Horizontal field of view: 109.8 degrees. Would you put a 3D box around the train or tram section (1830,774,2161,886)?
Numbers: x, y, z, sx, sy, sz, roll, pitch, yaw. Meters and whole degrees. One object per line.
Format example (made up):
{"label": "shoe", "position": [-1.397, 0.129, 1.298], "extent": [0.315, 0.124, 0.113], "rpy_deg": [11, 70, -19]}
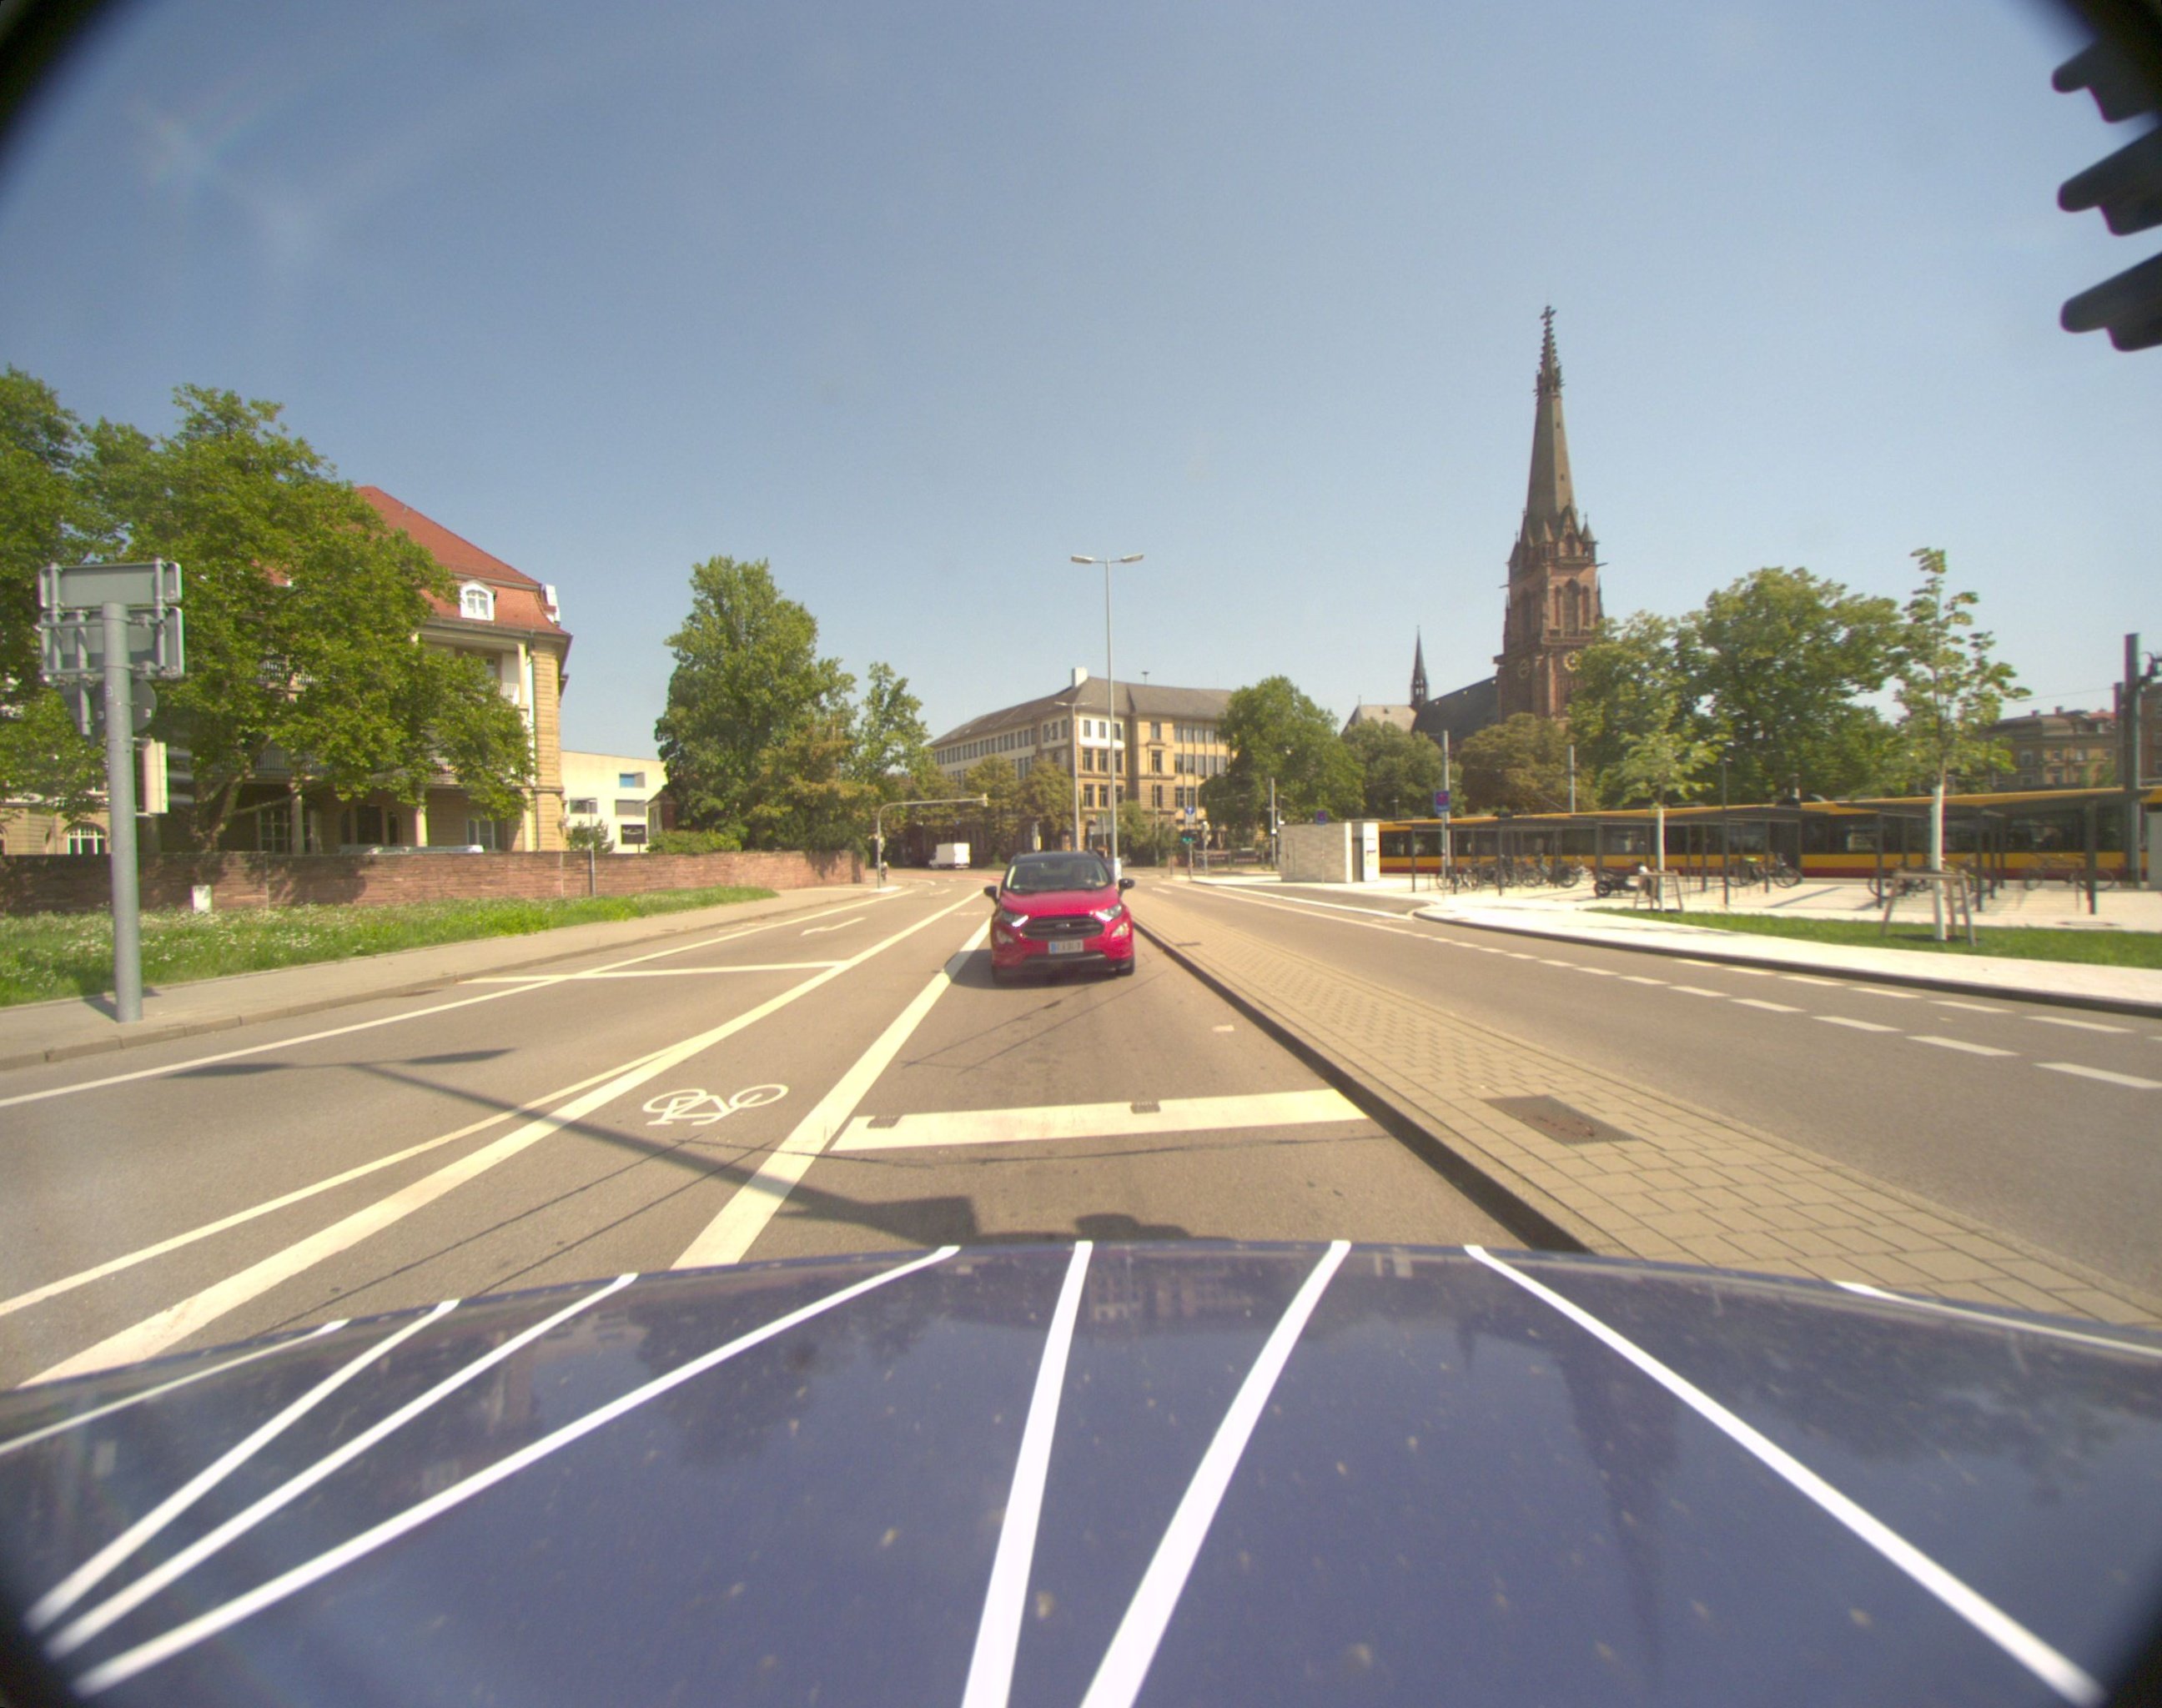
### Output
{"label": "train or tram section", "position": [33.624, -0.695, 27.969], "extent": [3.168, 3.576, 8.224], "rpy_deg": [-1, -1, -38]}

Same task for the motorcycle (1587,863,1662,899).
{"label": "motorcycle", "position": [16.438, 0.795, 23.001], "extent": [0.492, 1.062, 1.775], "rpy_deg": [-1, 0, -35]}

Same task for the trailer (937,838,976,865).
{"label": "trailer", "position": [-15.515, -0.269, 94.678], "extent": [2.446, 3.269, 5.075], "rpy_deg": [-2, 1, -40]}

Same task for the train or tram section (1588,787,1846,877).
{"label": "train or tram section", "position": [28.533, -0.812, 34.576], "extent": [3.168, 3.576, 8.504], "rpy_deg": [-1, -1, -38]}

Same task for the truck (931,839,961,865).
{"label": "truck", "position": [-17.197, -0.258, 96.724], "extent": [2.434, 3.269, 3.418], "rpy_deg": [-2, 1, -40]}

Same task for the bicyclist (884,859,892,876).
{"label": "bicyclist", "position": [-14.694, 1.034, 57.834], "extent": [0.433, 1.226, 0.540], "rpy_deg": [-1, 1, -5]}

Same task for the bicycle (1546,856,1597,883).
{"label": "bicycle", "position": [19.066, 0.603, 29.557], "extent": [0.413, 1.034, 1.636], "rpy_deg": [-1, 0, -35]}

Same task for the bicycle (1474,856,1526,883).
{"label": "bicycle", "position": [16.806, 0.611, 30.521], "extent": [0.528, 1.034, 1.765], "rpy_deg": [-1, 0, -35]}

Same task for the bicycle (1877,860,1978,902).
{"label": "bicycle", "position": [21.964, 0.695, 19.750], "extent": [0.514, 1.034, 1.730], "rpy_deg": [-2, 1, -44]}

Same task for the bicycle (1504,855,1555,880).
{"label": "bicycle", "position": [18.840, 0.564, 31.968], "extent": [0.528, 1.034, 1.765], "rpy_deg": [-1, 0, -35]}

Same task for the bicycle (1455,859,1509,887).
{"label": "bicycle", "position": [15.164, 0.704, 28.788], "extent": [0.528, 1.034, 1.765], "rpy_deg": [-1, 0, -35]}

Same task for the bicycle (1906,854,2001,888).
{"label": "bicycle", "position": [26.142, 0.492, 22.789], "extent": [0.514, 0.980, 1.852], "rpy_deg": [-1, 0, -39]}

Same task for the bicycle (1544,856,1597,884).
{"label": "bicycle", "position": [18.278, 0.596, 28.398], "extent": [0.413, 1.034, 1.636], "rpy_deg": [-1, 0, -35]}

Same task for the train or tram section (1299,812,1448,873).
{"label": "train or tram section", "position": [18.238, -0.574, 47.960], "extent": [3.144, 3.539, 8.307], "rpy_deg": [0, -1, -38]}

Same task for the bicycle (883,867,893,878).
{"label": "bicycle", "position": [-14.682, 1.380, 57.808], "extent": [0.437, 0.807, 1.485], "rpy_deg": [-1, 1, -5]}

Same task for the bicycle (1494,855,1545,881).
{"label": "bicycle", "position": [17.957, 0.557, 31.159], "extent": [0.528, 1.034, 1.765], "rpy_deg": [-1, 0, -35]}

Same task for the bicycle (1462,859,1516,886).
{"label": "bicycle", "position": [15.701, 0.700, 29.253], "extent": [0.528, 1.034, 1.765], "rpy_deg": [-1, 0, -35]}

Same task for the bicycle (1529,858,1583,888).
{"label": "bicycle", "position": [17.380, 0.683, 27.811], "extent": [0.413, 1.034, 1.636], "rpy_deg": [-1, 0, -35]}

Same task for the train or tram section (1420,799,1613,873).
{"label": "train or tram section", "position": [23.357, -0.793, 41.310], "extent": [3.168, 3.576, 8.504], "rpy_deg": [-1, -1, -38]}

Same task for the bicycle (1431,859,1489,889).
{"label": "bicycle", "position": [13.991, 0.730, 28.099], "extent": [0.528, 1.076, 1.860], "rpy_deg": [-1, 0, -35]}

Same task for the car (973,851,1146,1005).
{"label": "car", "position": [-0.327, 0.818, 10.476], "extent": [1.844, 1.605, 3.999], "rpy_deg": [-3, 0, -3]}

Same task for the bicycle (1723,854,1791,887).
{"label": "bicycle", "position": [22.443, 0.540, 25.254], "extent": [0.413, 1.034, 1.636], "rpy_deg": [-1, 0, -35]}

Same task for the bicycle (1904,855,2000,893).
{"label": "bicycle", "position": [24.825, 0.564, 21.697], "extent": [1.730, 1.034, 0.514], "rpy_deg": [-1, 1, 40]}
